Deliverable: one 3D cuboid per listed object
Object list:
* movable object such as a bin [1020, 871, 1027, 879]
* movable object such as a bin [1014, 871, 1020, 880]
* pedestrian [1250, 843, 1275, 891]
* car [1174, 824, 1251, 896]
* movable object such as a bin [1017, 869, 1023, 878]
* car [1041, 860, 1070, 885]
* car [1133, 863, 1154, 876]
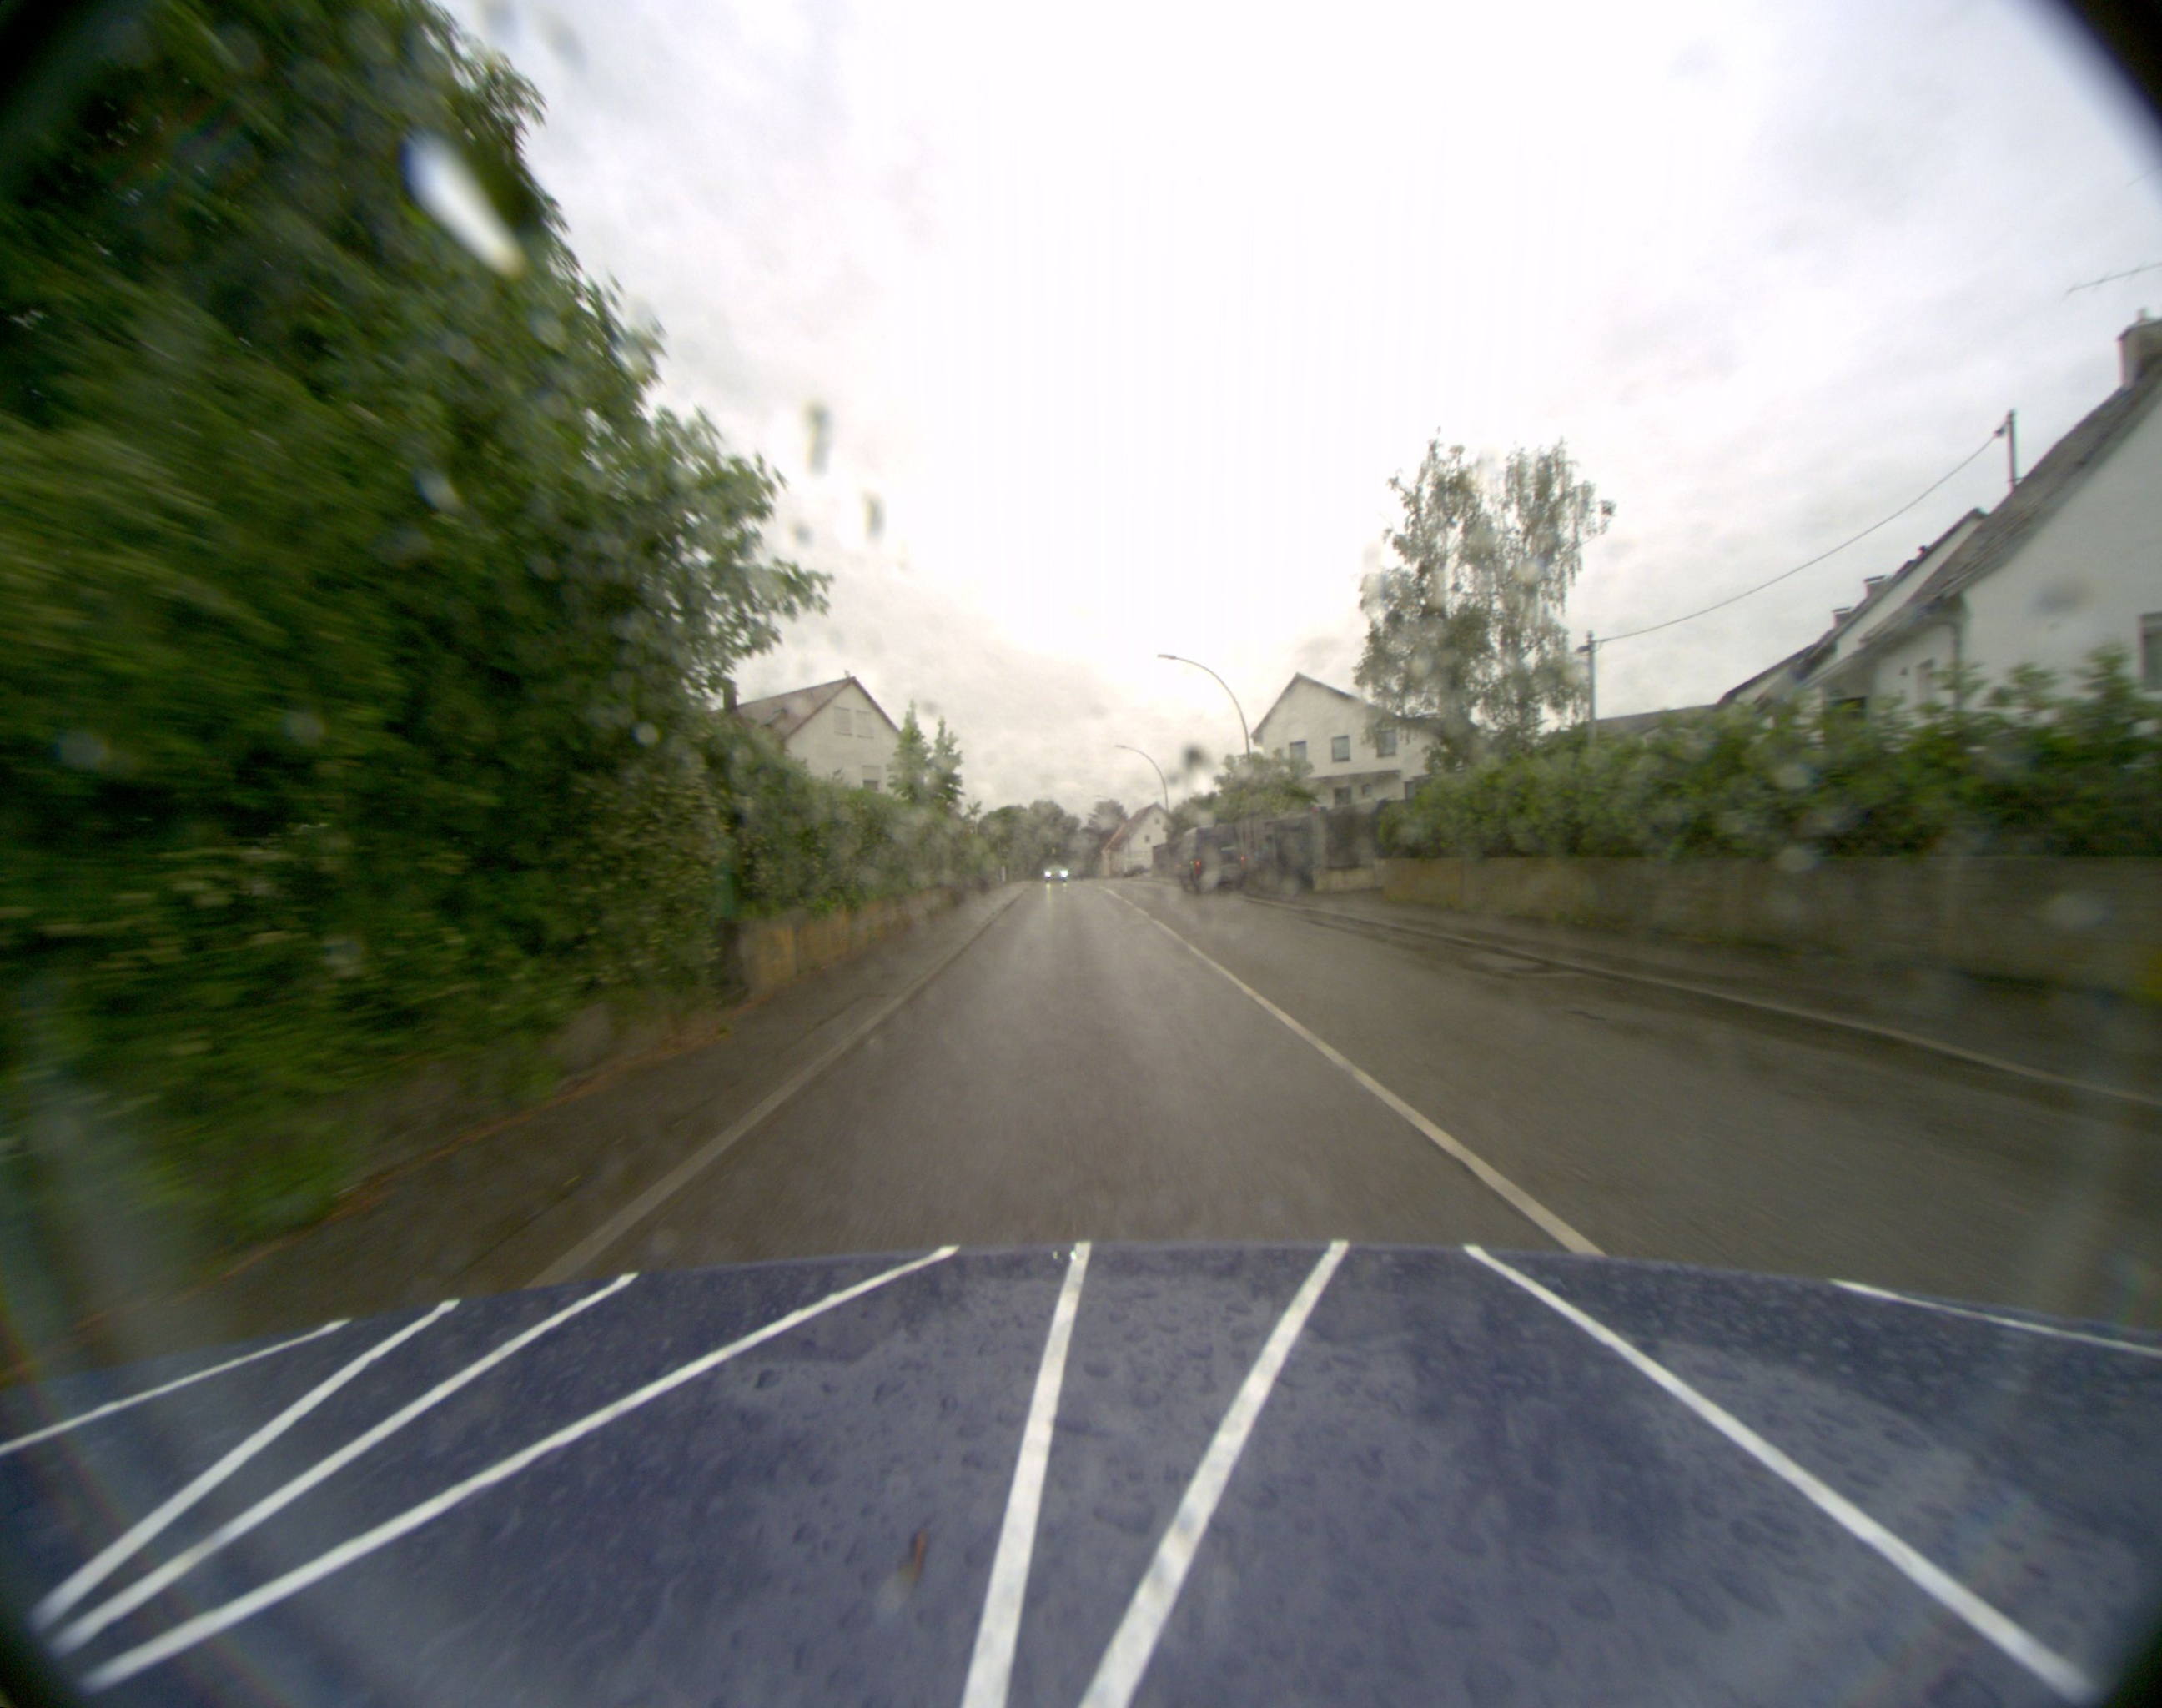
[{"bbox_3d":[-6.750,2.489,89.558,0.530,1.015,0.734,-1,-1,16],"label":"movable object such as a bin"},{"bbox_3d":[-7.531,2.533,89.494,0.443,1.015,0.526,-2,-1,29],"label":"movable object such as a bin"},{"bbox_3d":[7.261,0.500,30.342,0.679,1.875,0.811,-2,1,30],"label":"pedestrian"},{"bbox_3d":[5.453,0.254,32.422,2.099,2.633,5.918,-4,0,0],"label":"car"},{"bbox_3d":[-7.072,2.250,87.966,0.628,1.015,0.541,-1,-1,2],"label":"movable object such as a bin"},{"bbox_3d":[-2.259,1.628,65.773,2.000,2.001,3.998,-2,-1,-9],"label":"car"},{"bbox_3d":[8.067,2.031,97.555,1.904,1.433,3.834,-5,-3,15],"label":"car"}]
